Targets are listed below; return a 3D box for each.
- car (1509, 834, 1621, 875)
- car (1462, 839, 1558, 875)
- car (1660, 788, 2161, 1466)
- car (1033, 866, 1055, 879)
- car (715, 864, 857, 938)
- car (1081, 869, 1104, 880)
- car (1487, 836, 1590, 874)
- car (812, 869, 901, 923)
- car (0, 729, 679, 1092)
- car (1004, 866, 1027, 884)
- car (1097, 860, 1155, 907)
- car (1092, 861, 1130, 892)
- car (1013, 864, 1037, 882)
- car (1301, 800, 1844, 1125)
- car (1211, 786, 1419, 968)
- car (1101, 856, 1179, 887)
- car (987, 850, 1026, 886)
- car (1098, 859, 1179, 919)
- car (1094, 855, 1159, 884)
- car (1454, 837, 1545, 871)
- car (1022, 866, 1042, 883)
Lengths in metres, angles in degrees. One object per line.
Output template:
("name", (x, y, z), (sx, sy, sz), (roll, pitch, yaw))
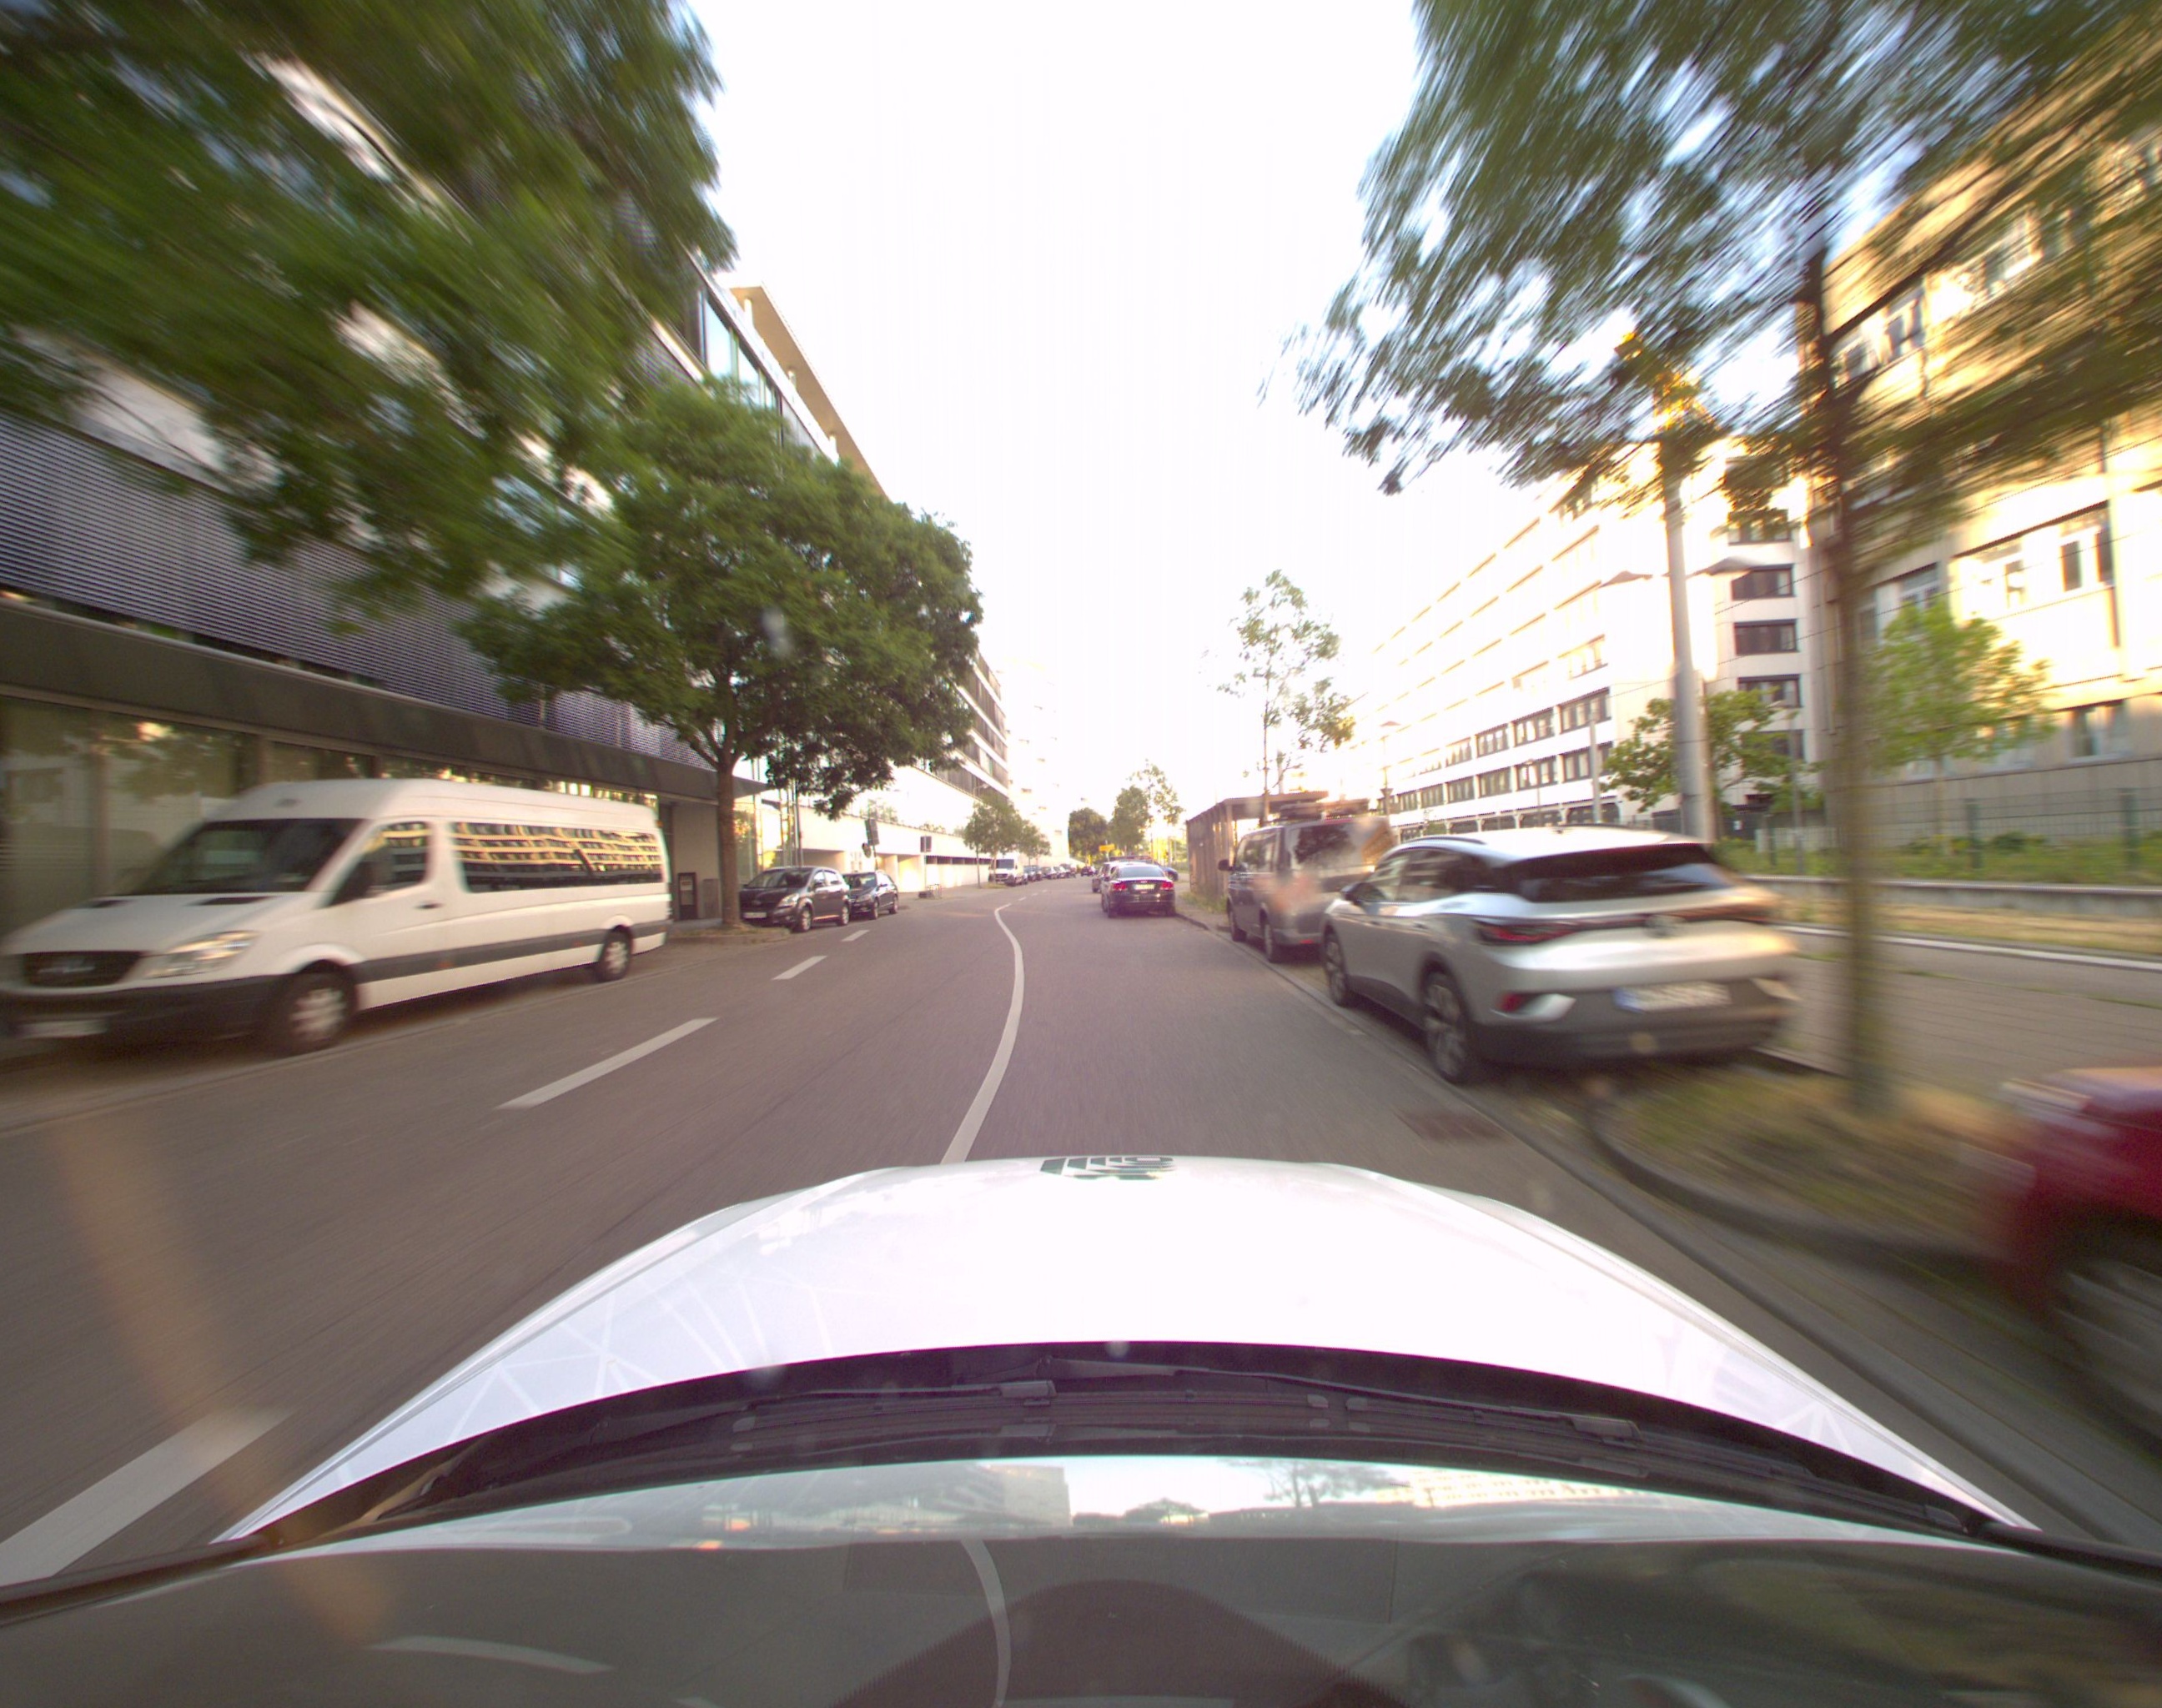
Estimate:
("car", (21.951, 0.043, 37.019), (3.972, 1.487, 1.676), (-5, -1, 2))
("car", (21.970, 0.159, 41.795), (3.972, 1.487, 1.676), (-5, -1, 2))
("car", (3.179, 0.540, 1.173), (1.702, 1.493, 4.131), (-4, -1, 1))
("car", (-4.098, 2.085, 91.816), (1.713, 1.457, 4.281), (-1, 0, 8))
("car", (-7.176, 1.078, 20.324), (1.837, 1.571, 4.269), (-2, -1, 2))
("car", (1.627, 2.780, 112.507), (1.928, 1.383, 4.419), (-1, 0, 18))
("car", (22.090, 0.066, 39.422), (3.972, 1.487, 1.676), (-5, -1, 2))
("car", (-6.908, 1.238, 25.527), (1.711, 1.452, 4.394), (-2, -1, -3))
("car", (-7.623, 0.462, 9.572), (2.092, 2.664, 6.953), (-2, -1, 2))
("car", (-5.499, 1.739, 68.464), (1.752, 1.440, 3.897), (-1, 0, -3))
("car", (1.496, 0.989, 28.592), (1.671, 1.452, 4.185), (-2, -1, -1))
("car", (1.443, 1.106, 40.366), (1.726, 1.466, 3.998), (-1, -2, 0))
("car", (-5.287, 1.776, 77.264), (1.749, 1.561, 4.045), (-1, 0, 2))
("car", (3.165, 0.595, 6.507), (1.700, 1.580, 4.482), (-4, -1, 3))
("car", (3.360, 0.323, 12.745), (1.798, 2.176, 4.736), (-4, -1, 1))
("car", (3.379, 0.994, 46.522), (4.016, 1.520, 1.907), (-3, -2, -34))
("car", (-5.617, 1.030, 62.220), (1.950, 2.617, 6.897), (-1, 0, 3))
("car", (1.509, 0.906, 22.775), (1.782, 1.452, 4.512), (-2, -1, -2))
("car", (3.409, 1.133, 60.741), (4.620, 2.035, 1.852), (-1, -1, -32))
("car", (22.689, 0.036, 44.281), (3.972, 1.487, 1.676), (-5, -1, 2))
("car", (-4.995, 2.111, 83.656), (1.750, 1.653, 3.949), (-1, 0, 1))
